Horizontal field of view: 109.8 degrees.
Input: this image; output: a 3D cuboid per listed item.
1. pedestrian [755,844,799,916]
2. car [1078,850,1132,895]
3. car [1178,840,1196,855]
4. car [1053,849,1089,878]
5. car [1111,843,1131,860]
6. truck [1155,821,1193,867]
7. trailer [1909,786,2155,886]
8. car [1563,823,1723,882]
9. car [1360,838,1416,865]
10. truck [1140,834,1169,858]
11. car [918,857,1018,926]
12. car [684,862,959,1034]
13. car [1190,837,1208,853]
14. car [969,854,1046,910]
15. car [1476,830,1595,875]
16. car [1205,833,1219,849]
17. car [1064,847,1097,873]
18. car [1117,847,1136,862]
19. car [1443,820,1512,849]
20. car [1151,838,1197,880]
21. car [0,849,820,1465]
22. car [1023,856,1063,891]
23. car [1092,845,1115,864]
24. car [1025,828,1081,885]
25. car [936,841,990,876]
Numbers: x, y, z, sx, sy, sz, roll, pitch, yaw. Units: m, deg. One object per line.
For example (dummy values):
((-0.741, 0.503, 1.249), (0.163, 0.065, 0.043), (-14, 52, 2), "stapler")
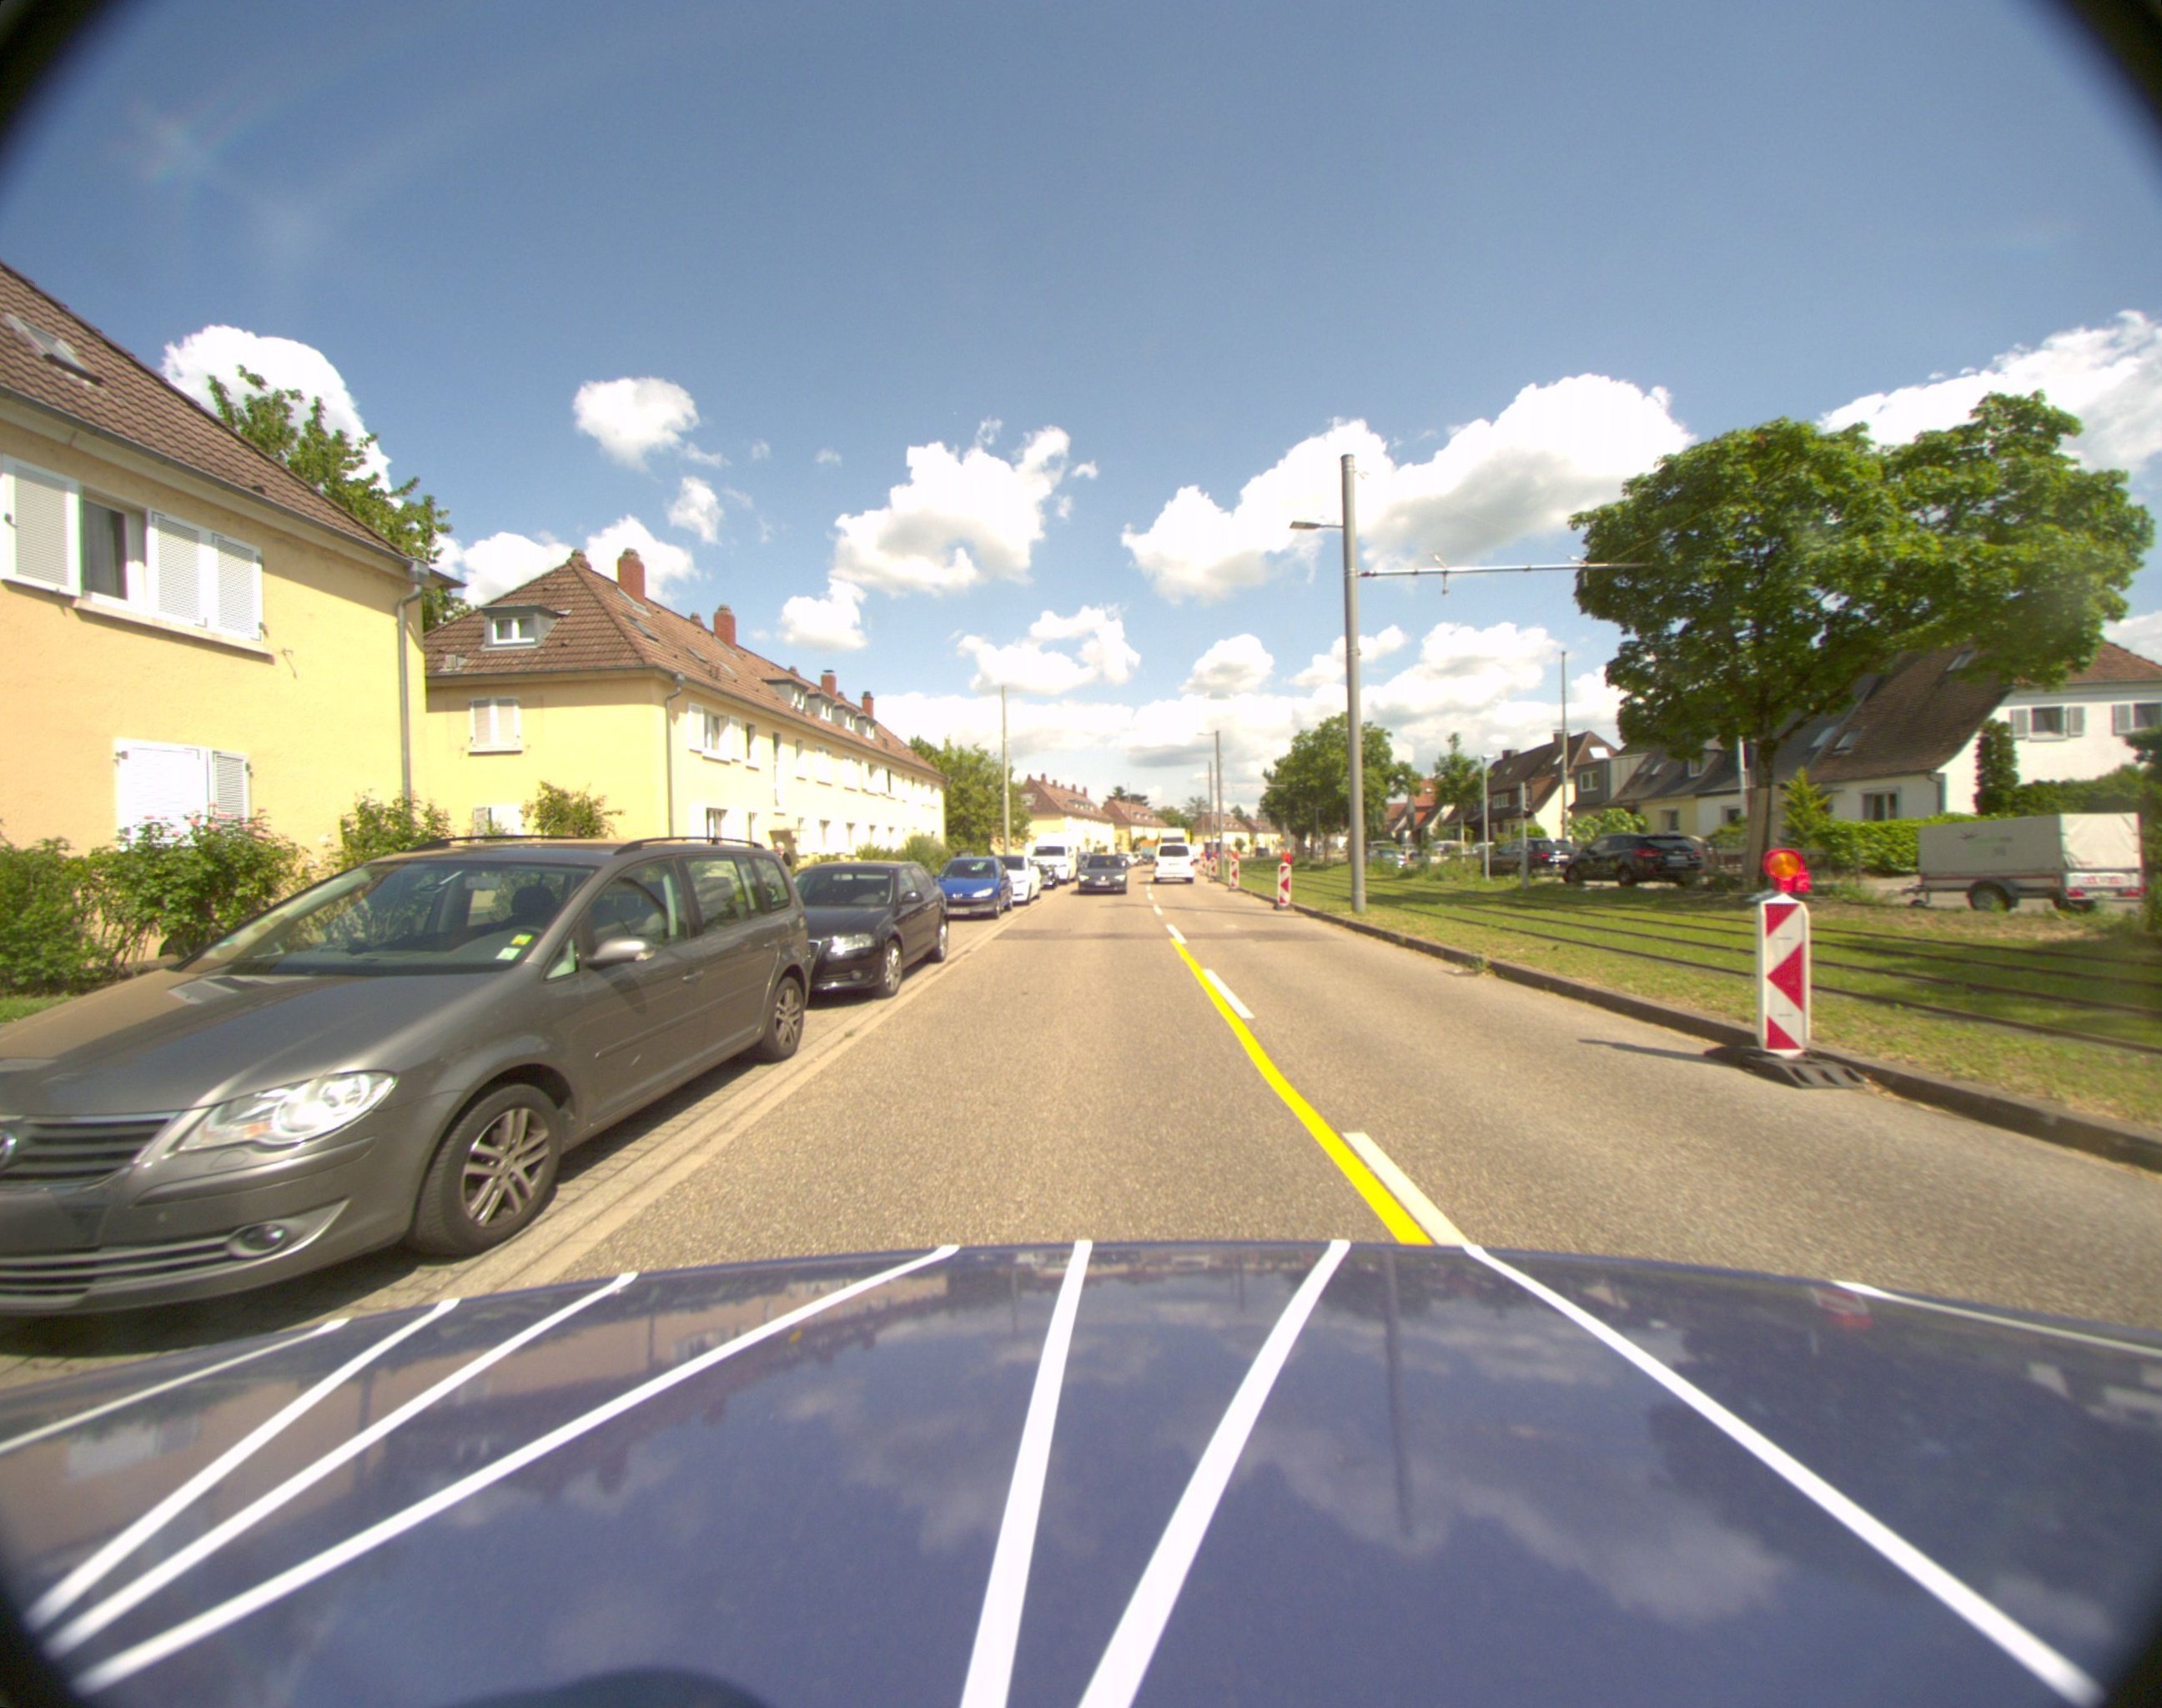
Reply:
((-7.076, 0.585, 17.715), (0.617, 1.629, 0.900), (-1, 2, 2), "pedestrian")
((0.897, 0.616, 27.865), (1.786, 1.412, 4.289), (-1, 1, 2), "car")
((11.492, -0.710, 82.109), (1.512, 1.490, 3.577), (-1, 1, 14), "car")
((-0.528, 0.481, 41.846), (1.513, 1.490, 3.544), (-1, 1, 6), "car")
((3.902, -0.266, 73.839), (1.512, 1.490, 3.576), (-1, 1, 11), "car")
((7.331, -0.774, 60.176), (2.701, 3.346, 8.052), (-1, 1, 6), "truck")
((15.856, -0.291, 12.823), (1.302, 1.510, 2.282), (-1, 1, 1), "trailer")
((16.767, -0.023, 22.972), (1.910, 1.569, 4.101), (1, 0, 3), "car")
((18.837, -0.213, 46.806), (1.998, 1.531, 4.323), (-1, 1, 4), "car")
((9.912, -1.133, 101.381), (2.529, 2.931, 7.868), (-1, 1, 15), "truck")
((-2.636, 0.829, 18.584), (1.701, 1.421, 3.898), (0, 1, 2), "car")
((-2.782, 0.906, 9.343), (1.689, 1.429, 4.515), (-1, 2, 2), "car")
((15.119, -1.171, 97.121), (1.839, 2.043, 3.871), (-1, 1, 14), "car")
((-2.147, 0.782, 23.529), (1.756, 1.480, 4.627), (-1, 1, 2), "car")
((16.741, -0.101, 28.275), (1.998, 1.531, 4.322), (-1, 1, 2), "car")
((20.314, -2.060, 117.900), (1.694, 2.418, 3.578), (-1, 1, 17), "car")
((0.013, 0.328, 45.833), (1.513, 1.490, 3.408), (-1, 1, 7), "car")
((4.726, 0.055, 78.243), (1.512, 1.490, 3.576), (-1, 1, 10), "car")
((28.866, -1.423, 55.397), (3.995, 2.002, 2.001), (-1, 2, 7), "car")
((4.526, 0.218, 37.667), (1.944, 1.931, 4.562), (0, 1, 3), "car")
((-3.064, 0.813, 4.171), (1.683, 1.621, 4.270), (-1, 1, 1), "car")
((-1.570, 0.776, 32.086), (1.358, 1.299, 3.543), (-1, 1, 2), "car")
((1.846, 0.017, 61.230), (1.513, 1.490, 3.408), (-1, 1, 7), "car")
((-1.249, 0.078, 36.787), (1.923, 2.523, 5.346), (-1, 1, 6), "car")
((-6.218, 0.226, 40.530), (1.926, 1.736, 4.048), (-1, 1, 5), "car")
